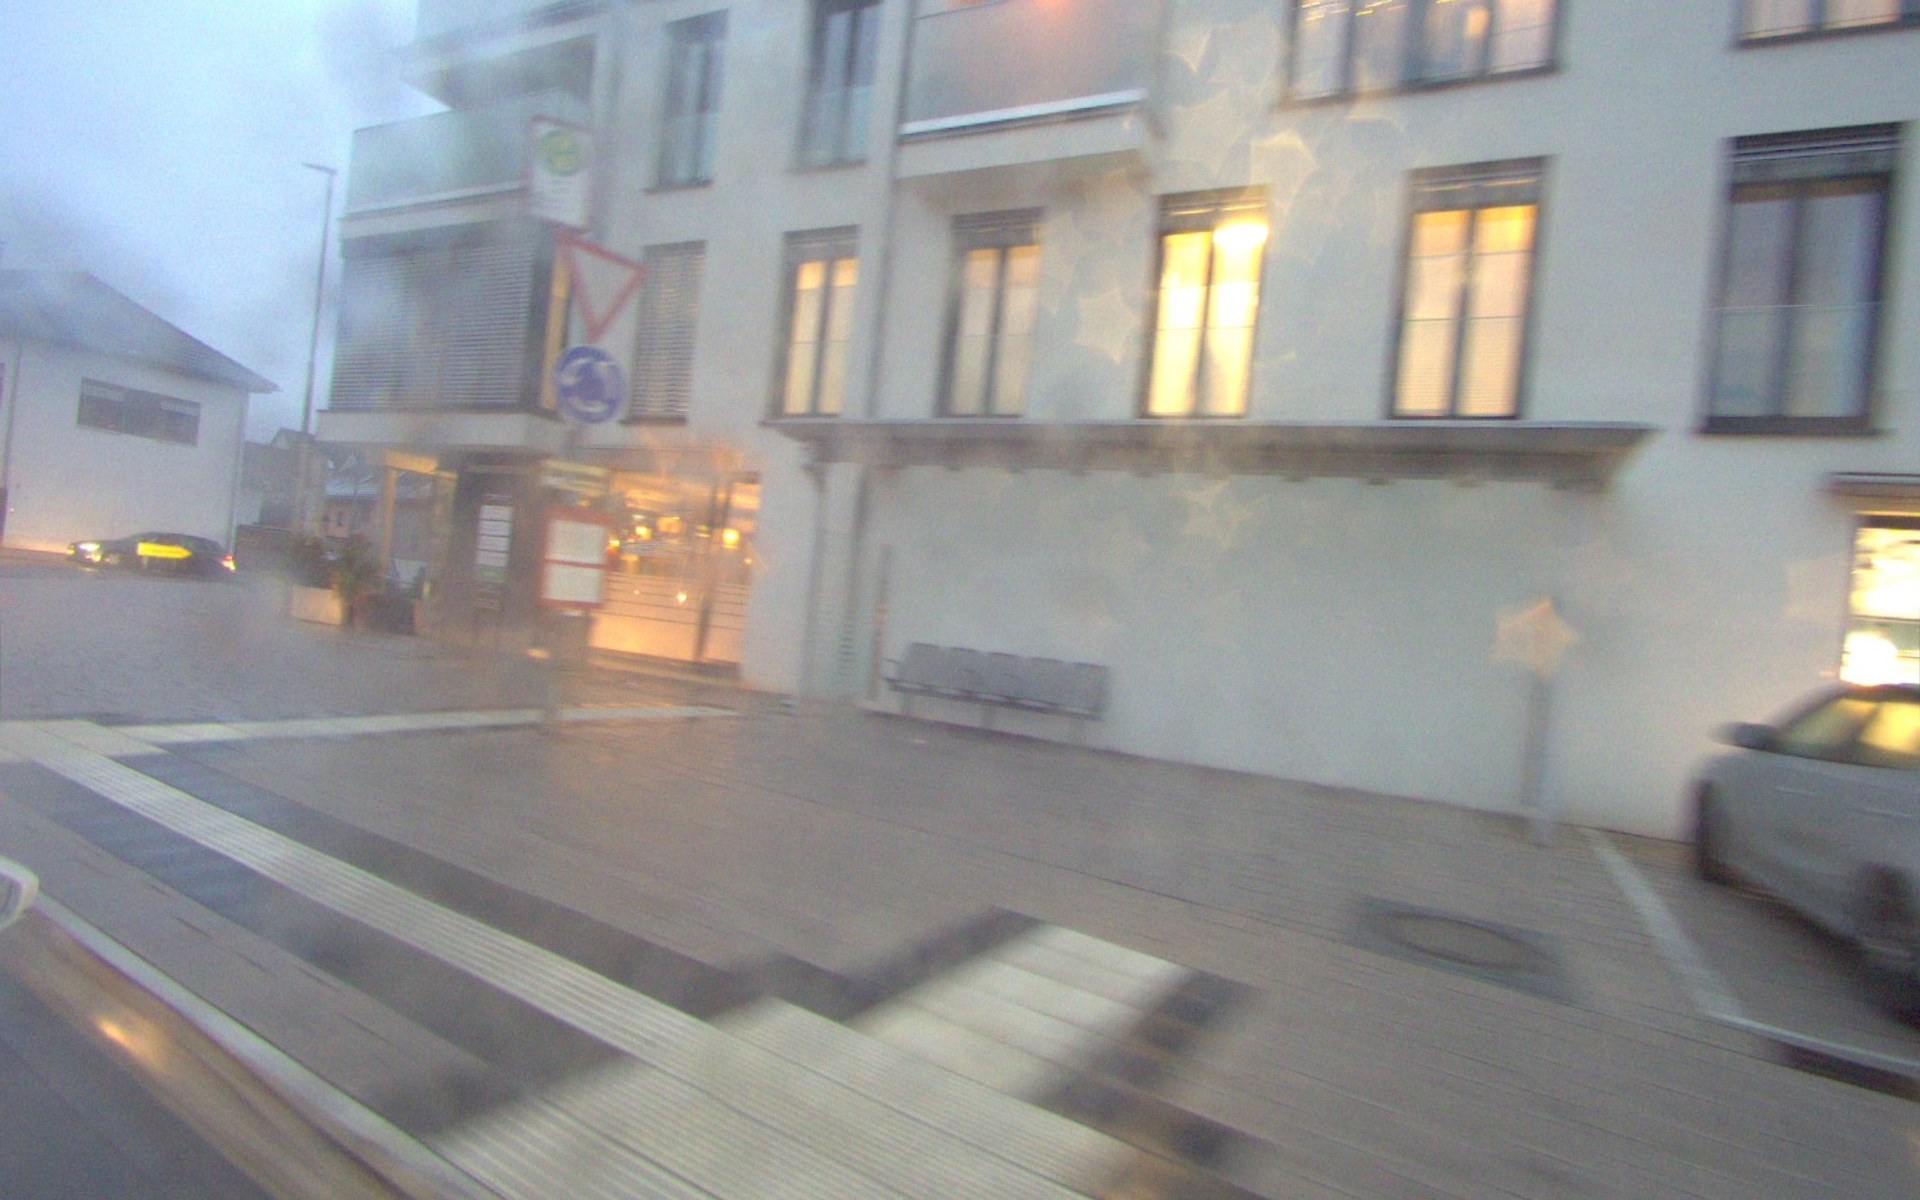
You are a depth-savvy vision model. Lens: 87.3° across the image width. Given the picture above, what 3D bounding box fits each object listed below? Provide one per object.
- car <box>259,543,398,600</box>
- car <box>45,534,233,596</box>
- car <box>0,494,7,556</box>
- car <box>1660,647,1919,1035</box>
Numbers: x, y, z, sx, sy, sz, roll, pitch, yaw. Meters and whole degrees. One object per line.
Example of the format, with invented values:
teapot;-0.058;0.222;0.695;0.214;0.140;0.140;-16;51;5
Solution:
car;-23.477;-1.035;37.552;1.669;1.570;3.995;5;-3;31
car;-26.211;-1.077;32.269;1.819;1.399;4.232;3;-4;28
car;-20.999;-1.572;20.306;1.767;1.557;3.897;8;-1;-33
car;5.316;1.125;5.132;1.780;1.523;3.997;5;1;20
